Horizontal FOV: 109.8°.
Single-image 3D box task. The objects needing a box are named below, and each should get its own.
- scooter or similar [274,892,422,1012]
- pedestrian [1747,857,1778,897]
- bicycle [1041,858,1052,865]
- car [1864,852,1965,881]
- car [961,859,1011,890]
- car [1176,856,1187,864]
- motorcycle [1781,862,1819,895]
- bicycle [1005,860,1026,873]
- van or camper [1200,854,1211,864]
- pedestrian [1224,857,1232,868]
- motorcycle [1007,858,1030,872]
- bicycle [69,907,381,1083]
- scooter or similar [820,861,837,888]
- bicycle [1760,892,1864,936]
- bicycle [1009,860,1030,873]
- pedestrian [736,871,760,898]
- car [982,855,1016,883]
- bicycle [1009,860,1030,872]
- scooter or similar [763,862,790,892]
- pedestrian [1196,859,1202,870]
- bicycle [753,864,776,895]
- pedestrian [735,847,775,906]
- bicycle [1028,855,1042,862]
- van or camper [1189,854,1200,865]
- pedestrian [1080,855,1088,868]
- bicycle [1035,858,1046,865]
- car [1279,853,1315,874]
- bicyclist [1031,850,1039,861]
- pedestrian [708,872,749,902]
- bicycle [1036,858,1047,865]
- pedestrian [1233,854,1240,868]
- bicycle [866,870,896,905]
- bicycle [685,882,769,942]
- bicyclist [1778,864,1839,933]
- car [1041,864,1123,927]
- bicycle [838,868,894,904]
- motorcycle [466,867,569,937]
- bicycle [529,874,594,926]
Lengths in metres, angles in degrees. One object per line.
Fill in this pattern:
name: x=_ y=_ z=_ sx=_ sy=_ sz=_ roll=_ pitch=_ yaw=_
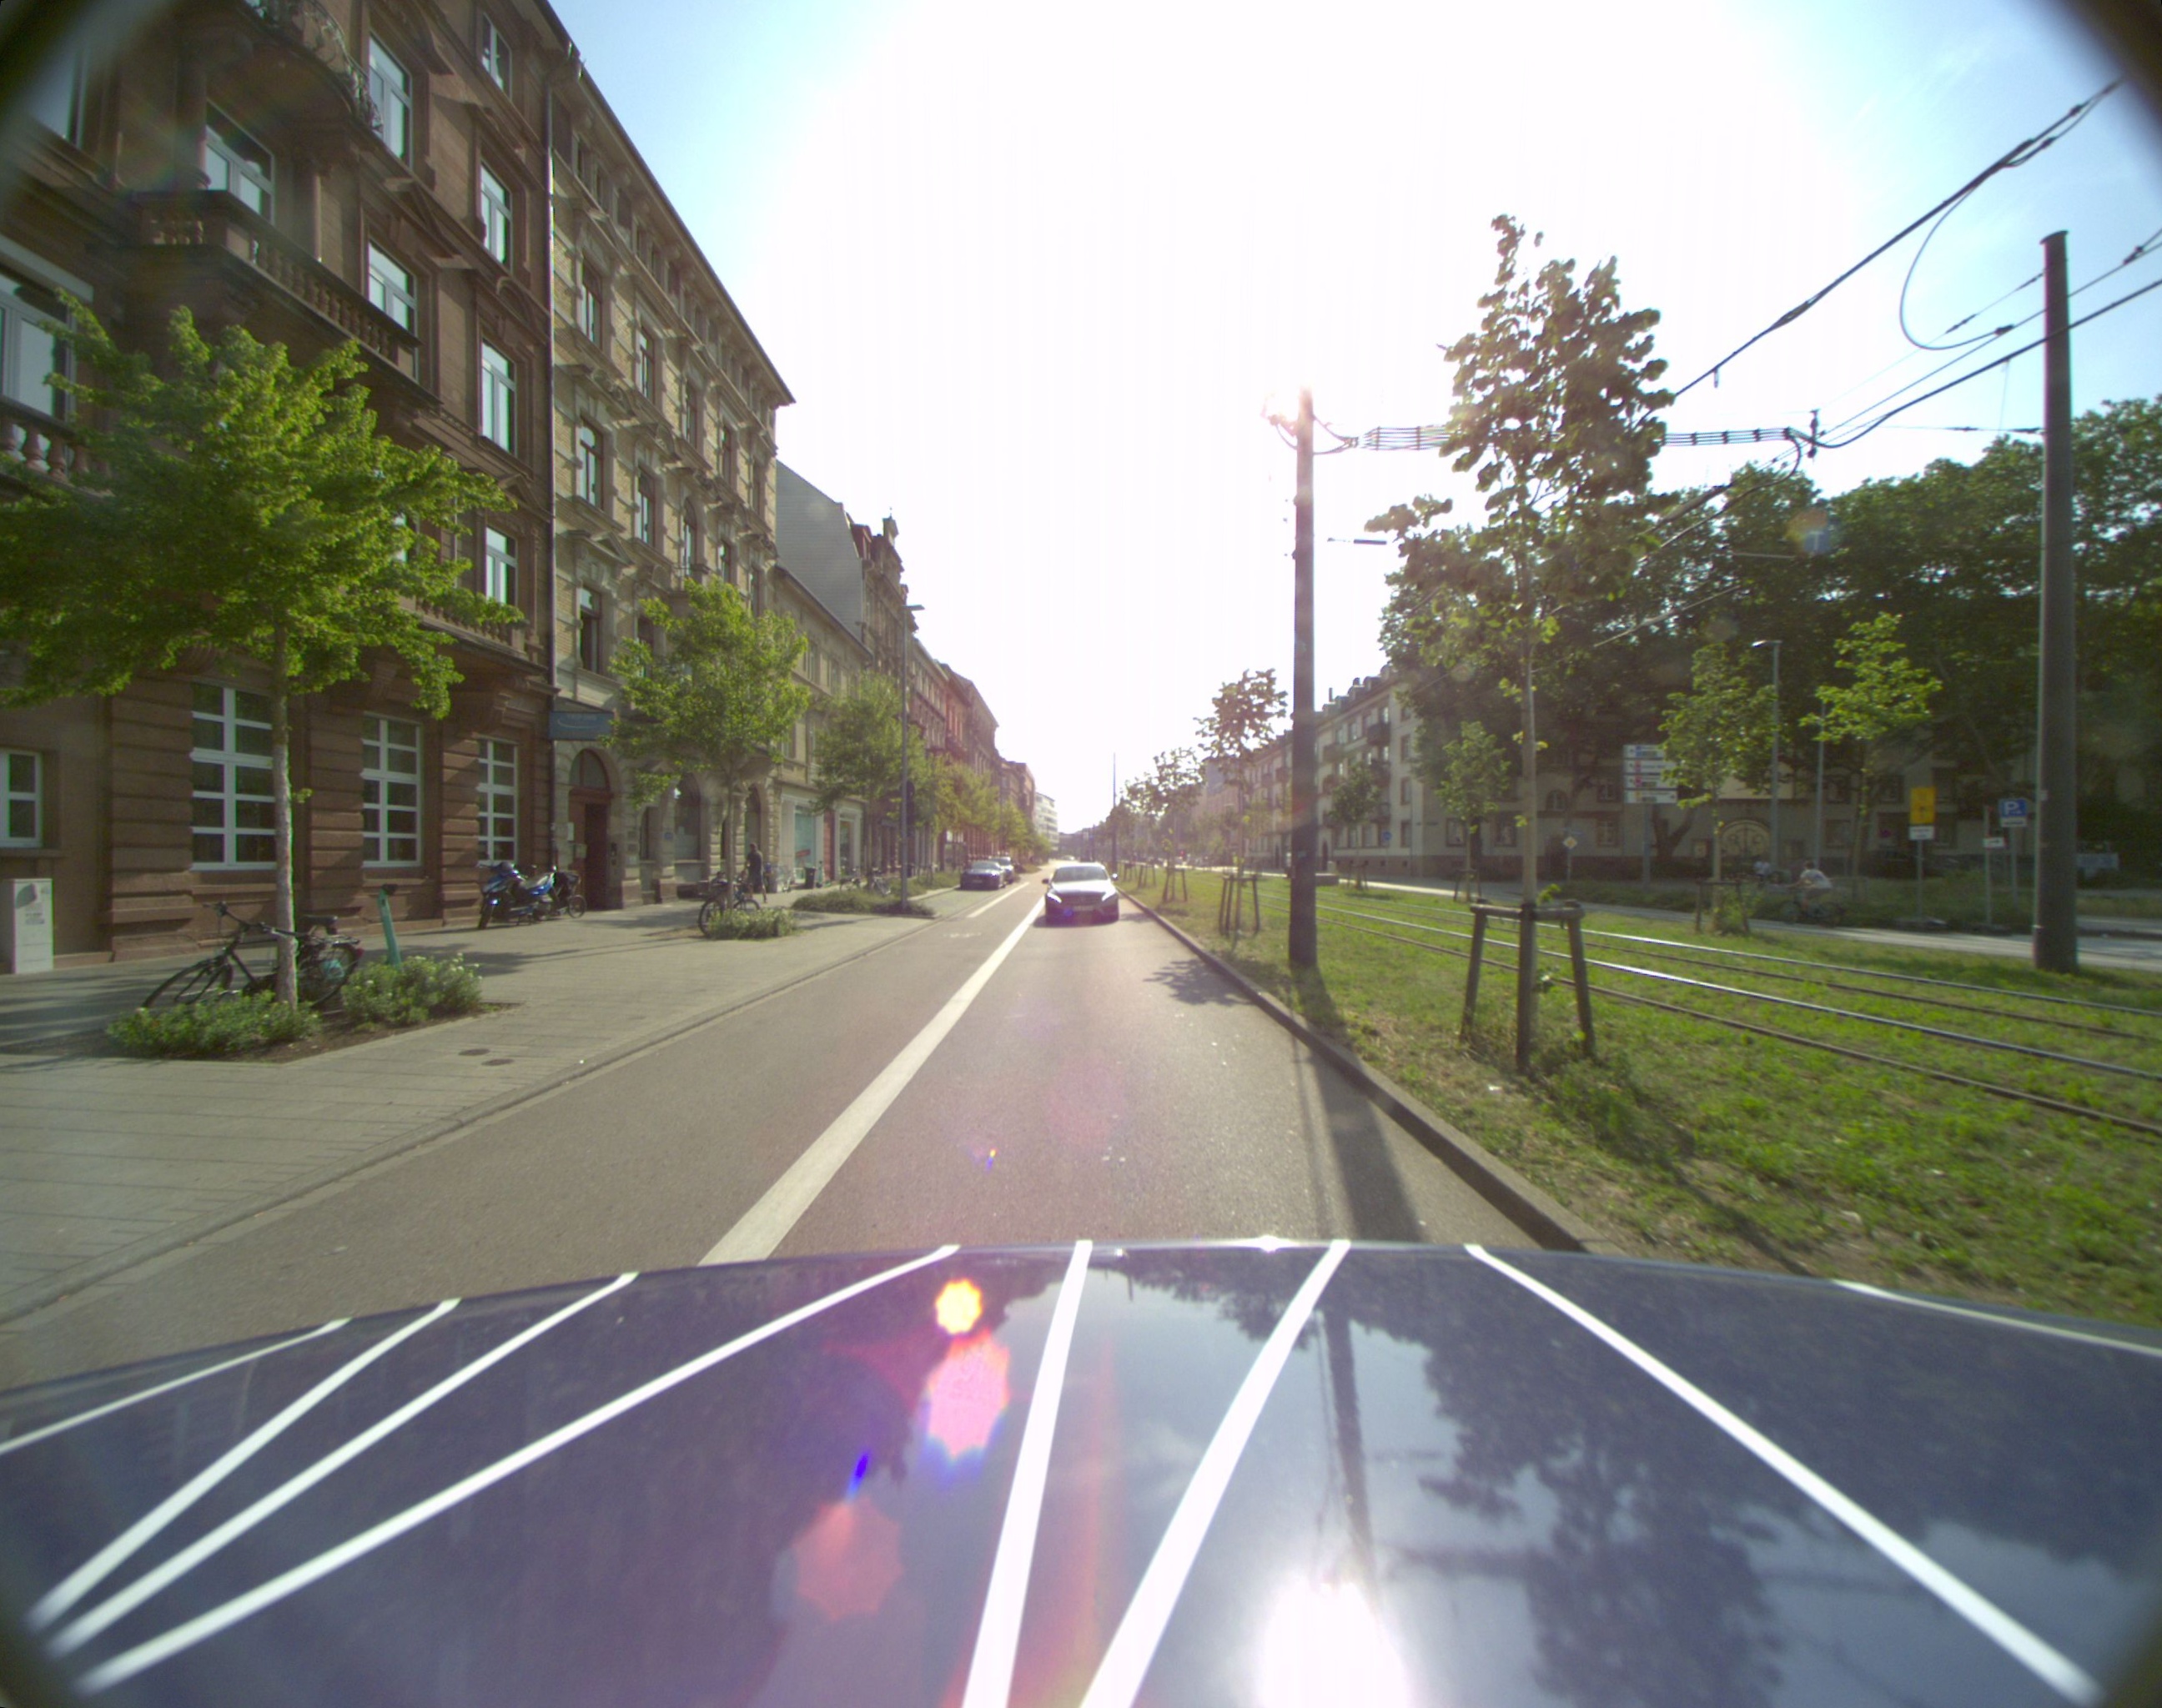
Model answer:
scooter or similar: x=-7.663 y=1.007 z=7.954 sx=1.259 sy=1.151 sz=0.340 roll=2 pitch=1 yaw=4
pedestrian: x=29.201 y=0.972 z=32.566 sx=0.737 sy=1.668 sz=0.676 roll=0 pitch=1 yaw=-16
bicycle: x=-6.064 y=1.350 z=132.543 sx=1.761 sy=1.081 sz=0.610 roll=3 pitch=0 yaw=-9
car: x=52.671 y=0.746 z=48.150 sx=1.999 sy=1.739 sz=4.000 roll=0 pitch=0 yaw=0
car: x=-4.682 y=0.971 z=37.982 sx=1.741 sy=1.388 sz=4.715 roll=1 pitch=0 yaw=1
car: x=22.963 y=1.395 z=173.562 sx=1.998 sy=1.884 sz=5.048 roll=0 pitch=0 yaw=4
motorcycle: x=31.457 y=1.050 z=33.247 sx=2.301 sy=1.361 sz=0.816 roll=0 pitch=0 yaw=-37
bicycle: x=-5.930 y=1.117 z=68.929 sx=1.812 sy=1.089 sz=0.671 roll=2 pitch=0 yaw=-5
van or camper: x=24.594 y=0.985 z=150.157 sx=1.934 sy=1.956 sz=4.001 roll=0 pitch=0 yaw=4
pedestrian: x=25.345 y=1.477 z=130.815 sx=1.073 sy=1.857 sz=0.862 roll=0 pitch=1 yaw=-28
motorcycle: x=-6.006 y=1.025 z=73.024 sx=2.046 sy=1.279 sz=0.703 roll=2 pitch=-1 yaw=-36
bicycle: x=-7.013 y=1.073 z=6.409 sx=0.597 sy=1.116 sz=1.925 roll=0 pitch=0 yaw=-6
scooter or similar: x=-10.865 y=0.871 z=32.684 sx=0.289 sy=1.127 sz=1.089 roll=0 pitch=0 yaw=6
bicycle: x=18.966 y=1.530 z=19.780 sx=0.663 sy=0.955 sz=2.078 roll=1 pitch=1 yaw=0
bicycle: x=-5.462 y=1.109 z=67.623 sx=1.789 sy=1.048 sz=0.373 roll=2 pitch=0 yaw=-1
pedestrian: x=-10.886 y=0.989 z=24.850 sx=0.572 sy=0.850 sz=0.457 roll=2 pitch=0 yaw=-6
car: x=-4.904 y=0.880 z=45.768 sx=1.774 sy=1.579 sz=4.246 roll=1 pitch=0 yaw=-4
bicycle: x=-5.464 y=1.079 z=67.227 sx=1.789 sy=1.048 sz=0.373 roll=2 pitch=0 yaw=-1
scooter or similar: x=-11.364 y=0.845 z=28.372 sx=0.608 sy=1.118 sz=0.931 roll=0 pitch=0 yaw=0
pedestrian: x=18.405 y=1.632 z=118.552 sx=0.807 sy=1.574 sz=0.680 roll=0 pitch=0 yaw=3
bicycle: x=-11.273 y=0.895 z=27.079 sx=0.452 sy=1.077 sz=1.447 roll=0 pitch=0 yaw=-9
pedestrian: x=-9.541 y=0.644 z=22.267 sx=0.825 sy=1.686 sz=0.793 roll=2 pitch=0 yaw=-4
bicycle: x=-6.318 y=0.649 z=103.950 sx=1.780 sy=0.947 sz=0.508 roll=2 pitch=0 yaw=23
van or camper: x=29.921 y=1.398 z=199.806 sx=1.998 sy=2.785 sz=5.352 roll=1 pitch=0 yaw=0
pedestrian: x=0.427 y=1.005 z=107.107 sx=0.992 sy=1.795 sz=0.864 roll=1 pitch=-1 yaw=-1
bicycle: x=-6.946 y=1.252 z=129.680 sx=1.763 sy=1.081 sz=0.671 roll=3 pitch=0 yaw=-23
car: x=20.777 y=0.872 z=73.153 sx=1.998 sy=1.907 sz=5.153 roll=-2 pitch=0 yaw=0
bicyclist: x=-6.292 y=0.144 z=103.930 sx=0.929 sy=1.473 sz=0.587 roll=2 pitch=0 yaw=23
pedestrian: x=-10.732 y=0.998 z=23.154 sx=0.880 sy=0.871 sz=0.711 roll=2 pitch=0 yaw=-3
bicycle: x=-6.516 y=1.316 z=126.372 sx=1.756 sy=1.081 sz=0.583 roll=2 pitch=0 yaw=3
pedestrian: x=23.346 y=0.984 z=113.888 sx=0.844 sy=2.056 sz=1.157 roll=-1 pitch=0 yaw=1
bicycle: x=-6.519 y=1.071 z=24.857 sx=0.494 sy=1.087 sz=1.826 roll=0 pitch=0 yaw=0
bicycle: x=-6.960 y=1.114 z=15.038 sx=0.505 sy=1.054 sz=1.715 roll=2 pitch=0 yaw=15
bicyclist: x=18.962 y=1.147 z=19.833 sx=0.648 sy=1.726 sz=0.918 roll=2 pitch=1 yaw=0
car: x=0.003 y=1.011 z=20.010 sx=1.907 sy=1.384 sz=4.235 roll=-1 pitch=0 yaw=-1
bicycle: x=-7.267 y=1.062 z=25.742 sx=0.453 sy=1.076 sz=1.881 roll=2 pitch=3 yaw=42
motorcycle: x=-10.518 y=0.856 z=14.273 sx=0.464 sy=1.169 sz=1.945 roll=2 pitch=0 yaw=0
bicycle: x=-10.891 y=0.952 z=15.965 sx=0.397 sy=1.012 sz=1.256 roll=0 pitch=0 yaw=5
